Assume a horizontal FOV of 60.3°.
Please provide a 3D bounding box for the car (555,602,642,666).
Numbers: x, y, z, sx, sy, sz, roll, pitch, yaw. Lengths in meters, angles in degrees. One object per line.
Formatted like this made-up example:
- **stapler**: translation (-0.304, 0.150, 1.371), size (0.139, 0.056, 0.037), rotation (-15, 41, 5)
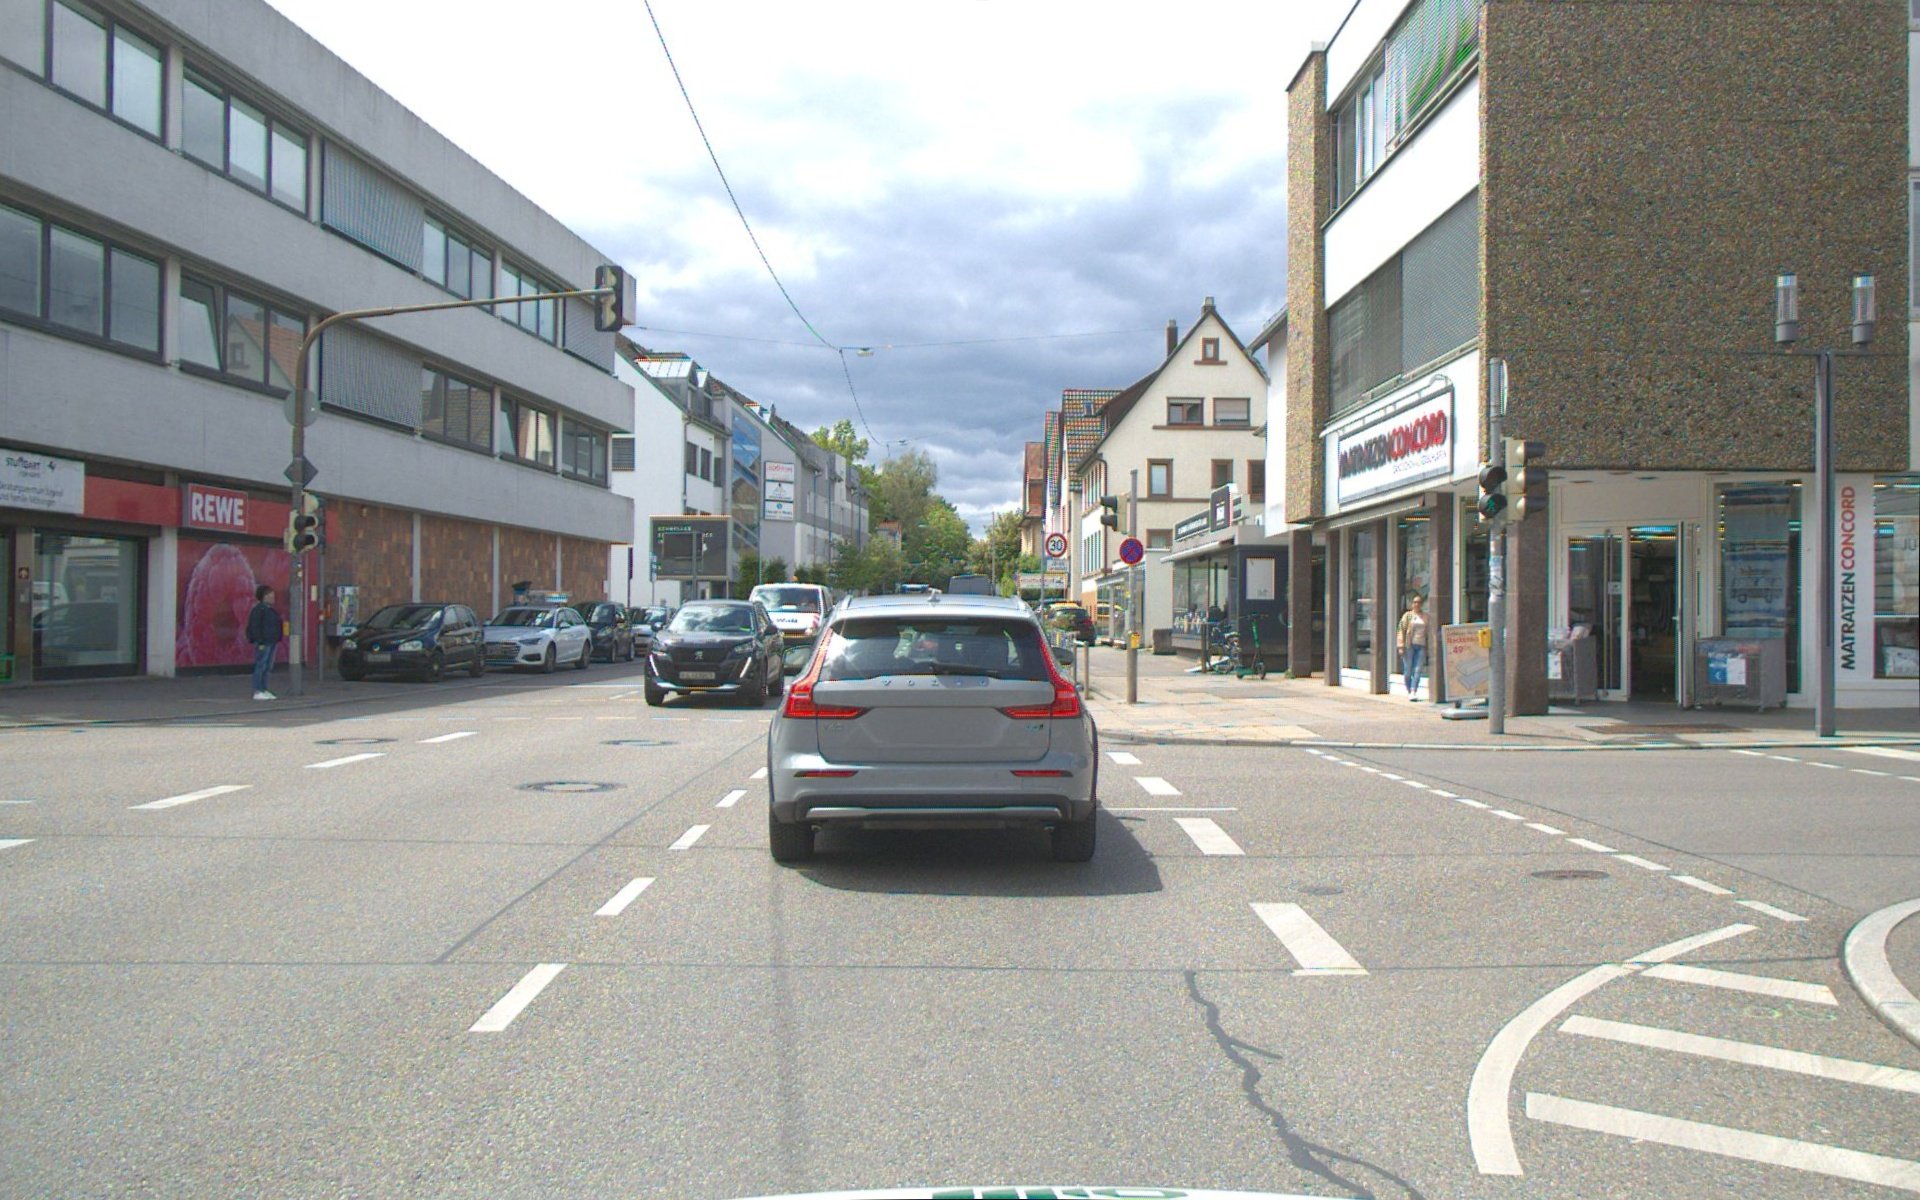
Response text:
- **car**: translation (-9.414, 0.857, 43.264), size (1.574, 1.570, 2.944), rotation (2, 0, 0)

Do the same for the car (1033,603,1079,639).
- **car**: translation (4.300, 0.979, 74.497), size (1.844, 1.526, 3.971), rotation (1, -2, 0)

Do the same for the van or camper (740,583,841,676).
- **van or camper**: translation (-3.725, 0.597, 37.097), size (1.827, 1.931, 4.691), rotation (1, 1, -1)

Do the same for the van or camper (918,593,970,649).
- **van or camper**: translation (-0.587, 0.790, 58.642), size (1.782, 1.867, 3.998), rotation (0, -2, -1)

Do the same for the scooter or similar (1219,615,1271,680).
- **scooter or similar**: translation (5.709, 0.952, 33.210), size (0.336, 1.275, 1.235), rotation (-2, -1, -26)

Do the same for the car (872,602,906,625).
- **car**: translation (-4.620, 0.868, 108.046), size (1.725, 1.451, 4.002), rotation (0, 0, 4)

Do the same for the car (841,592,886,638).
- **car**: translation (-4.282, 0.676, 73.567), size (1.801, 1.951, 4.154), rotation (1, -1, -1)

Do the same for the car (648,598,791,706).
- **car**: translation (-3.622, 0.743, 25.508), size (1.648, 1.523, 3.966), rotation (0, 0, -1)

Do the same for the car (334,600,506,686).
- **car**: translation (-10.333, 0.800, 31.964), size (1.747, 1.490, 4.088), rotation (2, -1, 3)

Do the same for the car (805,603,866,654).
- **car**: translation (-4.052, 0.900, 54.229), size (1.634, 1.581, 4.215), rotation (1, 0, 0)

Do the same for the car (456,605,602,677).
- **car**: translation (-9.646, 0.869, 37.361), size (1.864, 1.468, 4.445), rotation (2, 0, 3)

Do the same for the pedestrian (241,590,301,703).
- **pedestrian**: translation (-10.263, 0.684, 24.652), size (0.606, 1.670, 0.660), rotation (0, 0, 0)

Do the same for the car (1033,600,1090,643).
- **car**: translation (3.727, 0.833, 61.177), size (1.676, 1.490, 3.997), rotation (1, -2, -3)

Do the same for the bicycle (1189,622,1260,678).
- **bicycle**: translation (5.758, 1.074, 36.112), size (0.546, 1.164, 2.288), rotation (0, 0, -18)

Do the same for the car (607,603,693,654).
- **car**: translation (-9.270, 0.827, 49.667), size (1.719, 1.451, 3.863), rotation (0, 0, 2)

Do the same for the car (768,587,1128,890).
- **car**: translation (-0.098, 0.684, 10.313), size (1.798, 1.512, 3.999), rotation (0, 0, -1)

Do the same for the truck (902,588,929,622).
- **truck**: translation (-4.036, 0.444, 150.206), size (2.229, 2.937, 7.079), rotation (0, 0, 0)

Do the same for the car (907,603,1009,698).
- **car**: translation (-0.062, 0.842, 28.532), size (1.617, 1.508, 3.606), rotation (1, -1, -1)

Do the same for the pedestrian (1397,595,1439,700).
- **pedestrian**: translation (6.656, 0.685, 24.057), size (0.493, 1.485, 0.500), rotation (-3, -1, 12)

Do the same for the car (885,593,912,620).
- **car**: translation (-4.511, 0.468, 121.705), size (1.761, 1.848, 3.999), rotation (1, -2, 0)

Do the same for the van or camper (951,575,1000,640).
- **van or camper**: translation (0.662, 0.322, 72.901), size (2.080, 2.733, 4.781), rotation (0, 0, 0)
